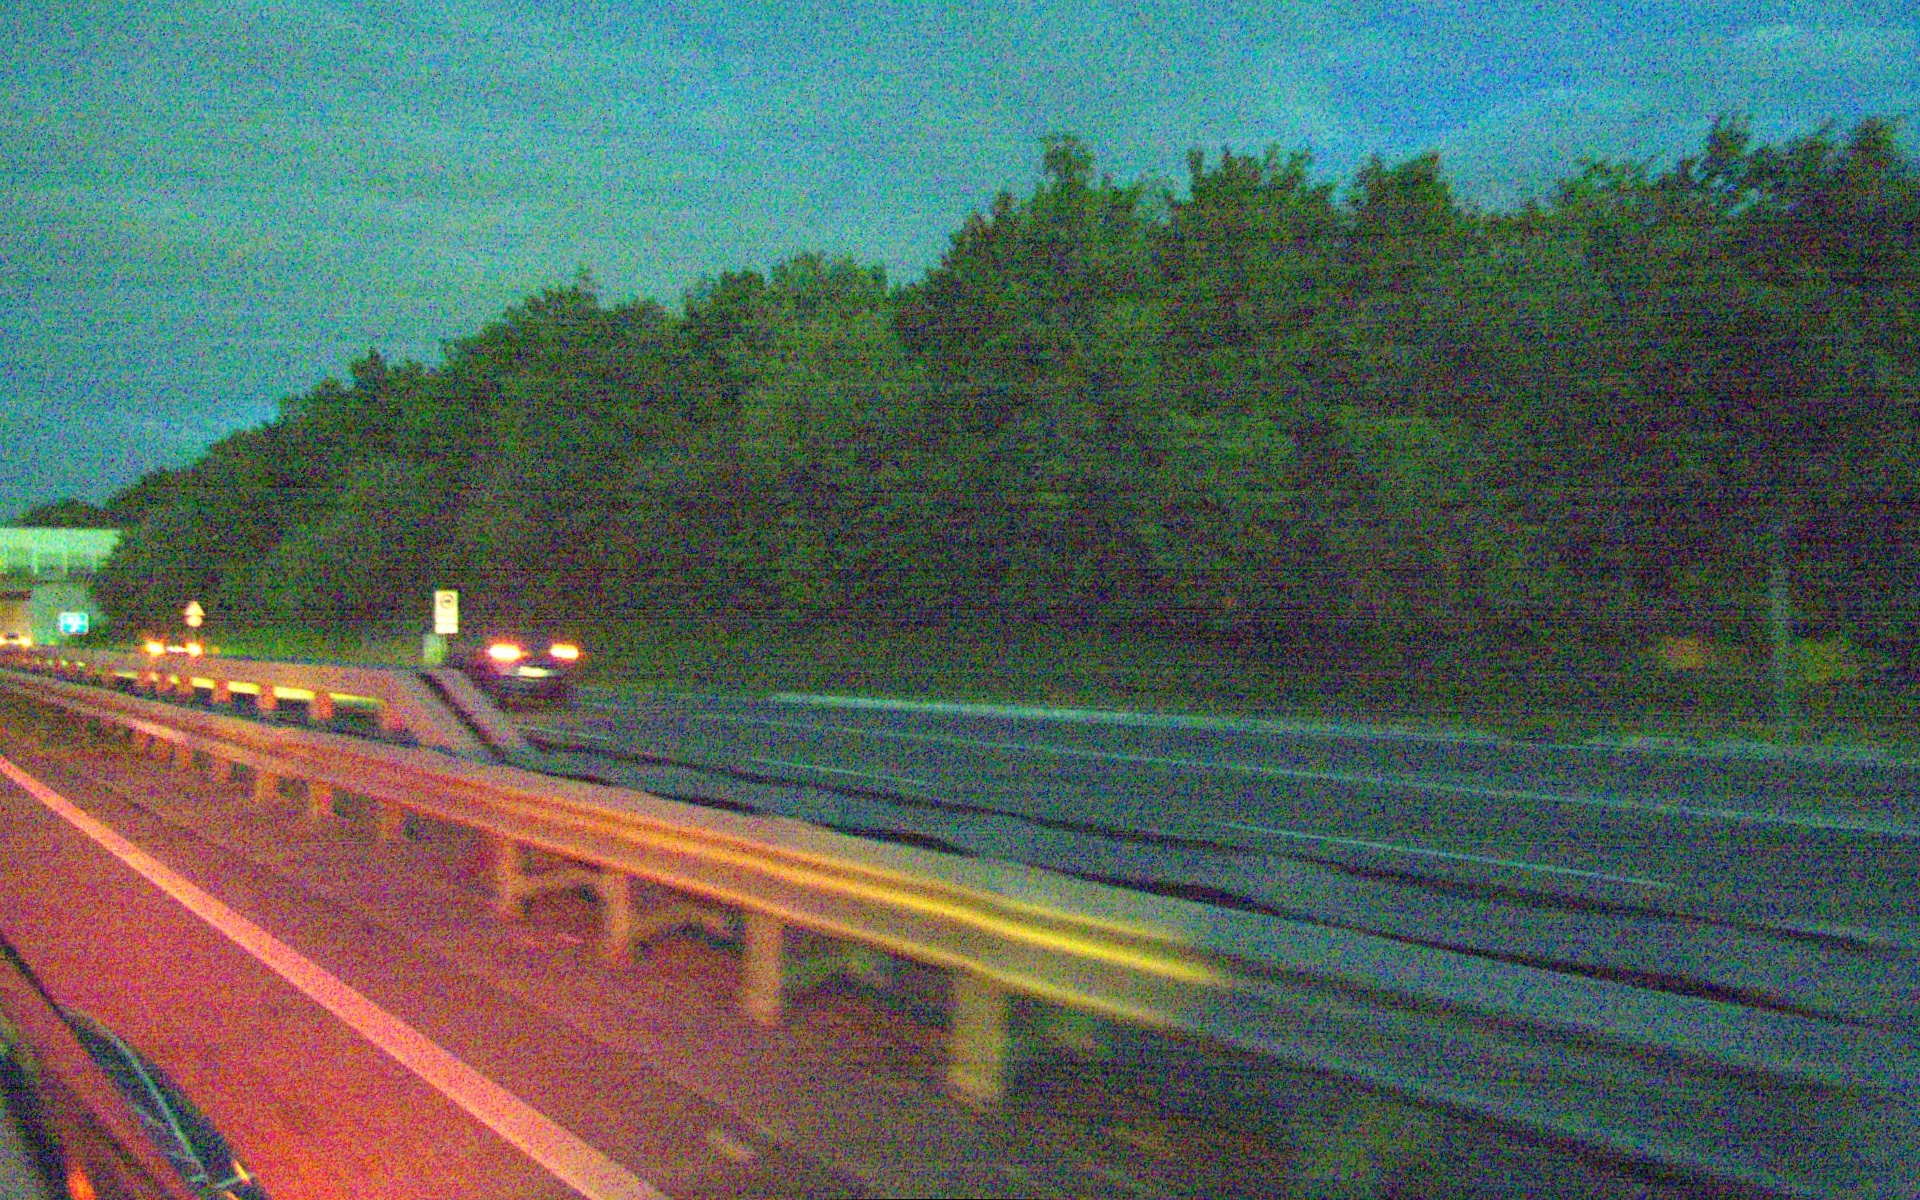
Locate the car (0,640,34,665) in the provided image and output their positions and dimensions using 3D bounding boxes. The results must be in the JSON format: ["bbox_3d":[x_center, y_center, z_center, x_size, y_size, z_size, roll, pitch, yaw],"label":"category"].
[{"bbox_3d":[-65.313,3.564,69.409,4.695,1.643,2.100,-2,-2,41],"label":"car"}]

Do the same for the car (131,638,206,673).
[{"bbox_3d":[-35.823,2.490,45.757,4.699,1.498,1.932,-2,-4,43],"label":"car"}]

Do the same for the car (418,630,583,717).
[{"bbox_3d":[-8.945,1.371,19.603,3.513,1.531,1.529,-2,-4,41],"label":"car"}]
